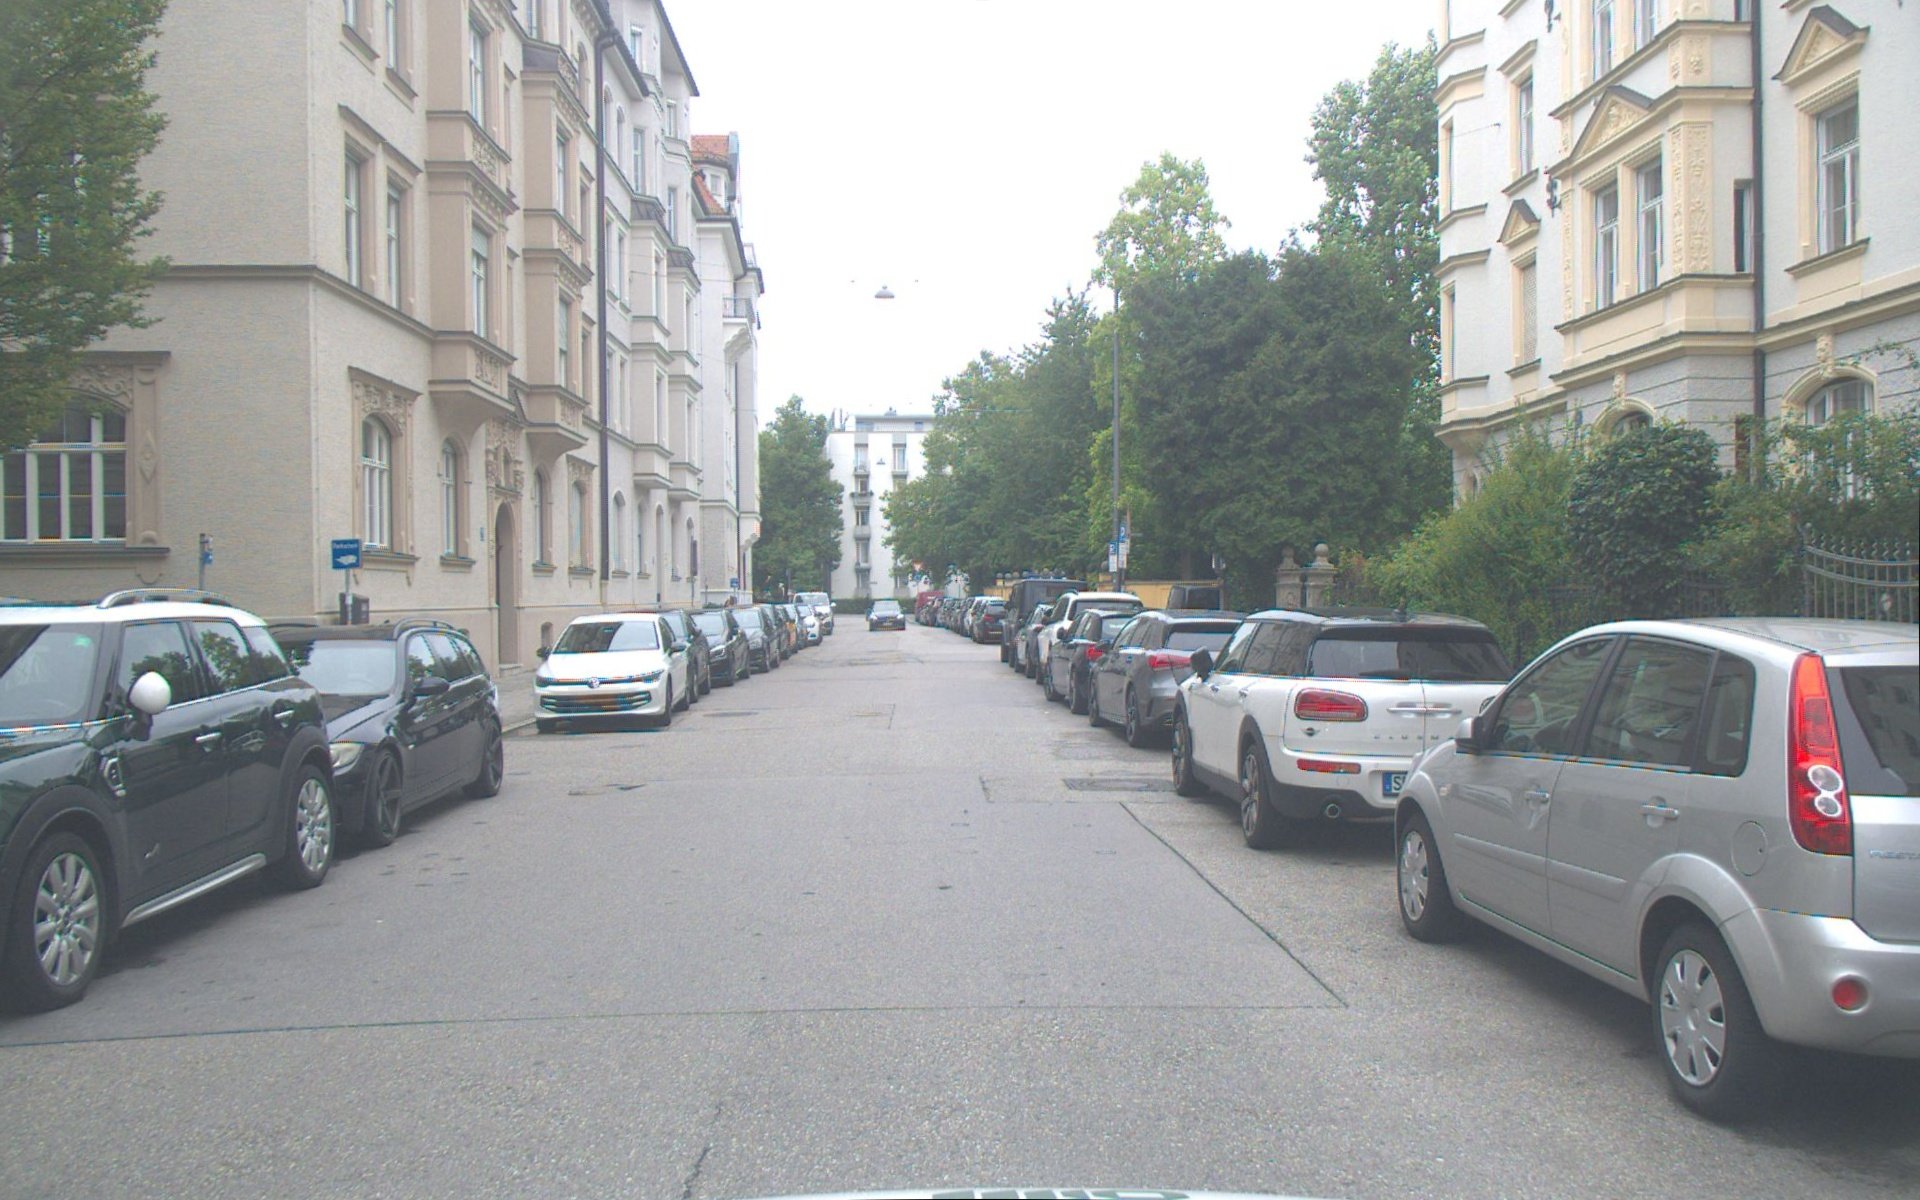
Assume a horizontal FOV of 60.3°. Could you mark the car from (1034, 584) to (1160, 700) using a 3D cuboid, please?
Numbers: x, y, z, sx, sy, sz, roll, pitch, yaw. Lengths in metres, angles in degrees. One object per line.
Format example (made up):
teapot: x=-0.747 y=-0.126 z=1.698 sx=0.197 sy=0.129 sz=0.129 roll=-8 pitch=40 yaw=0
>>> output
car: x=2.293 y=0.694 z=28.724 sx=1.688 sy=1.800 sz=4.412 roll=2 pitch=-1 yaw=-1

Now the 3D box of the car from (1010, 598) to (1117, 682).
car: x=2.045 y=0.786 z=33.540 sx=1.689 sy=1.545 sz=3.628 roll=2 pitch=-1 yaw=-3

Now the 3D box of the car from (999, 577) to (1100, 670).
car: x=2.010 y=0.484 z=38.517 sx=1.911 sy=1.988 sz=4.664 roll=1 pitch=1 yaw=-2

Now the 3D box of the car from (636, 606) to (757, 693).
car: x=-5.091 y=0.908 z=32.485 sx=1.797 sy=1.459 sz=4.551 roll=-2 pitch=1 yaw=-3

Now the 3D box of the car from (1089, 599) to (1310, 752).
car: x=2.576 y=0.765 z=18.669 sx=1.650 sy=1.531 sz=4.015 roll=1 pitch=0 yaw=-4

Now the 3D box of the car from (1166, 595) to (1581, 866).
car: x=2.611 y=0.743 z=11.438 sx=1.748 sy=1.531 sz=4.063 roll=1 pitch=0 yaw=-2

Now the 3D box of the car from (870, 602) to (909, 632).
car: x=-3.528 y=0.842 z=82.513 sx=1.837 sy=1.453 sz=4.405 roll=0 pitch=0 yaw=-4

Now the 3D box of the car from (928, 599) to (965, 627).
car: x=-0.808 y=0.728 z=95.063 sx=1.803 sy=1.545 sz=3.943 roll=1 pitch=-1 yaw=-5

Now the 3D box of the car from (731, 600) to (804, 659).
car: x=-5.551 y=0.820 z=48.151 sx=1.607 sy=1.525 sz=3.971 roll=-3 pitch=0 yaw=-1

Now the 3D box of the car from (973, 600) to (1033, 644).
car: x=1.432 y=0.744 z=56.489 sx=1.801 sy=1.438 sz=4.341 roll=1 pitch=-1 yaw=-2

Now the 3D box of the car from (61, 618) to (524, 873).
car: x=-4.589 y=0.894 z=12.137 sx=1.751 sy=1.437 sz=4.365 roll=0 pitch=0 yaw=-2

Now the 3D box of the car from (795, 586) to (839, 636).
car: x=-6.642 y=0.483 z=77.103 sx=1.849 sy=2.164 sz=4.703 roll=-3 pitch=0 yaw=-4

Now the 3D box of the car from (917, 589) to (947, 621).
car: x=-1.804 y=0.287 z=106.913 sx=1.799 sy=1.960 sz=4.005 roll=2 pitch=0 yaw=0

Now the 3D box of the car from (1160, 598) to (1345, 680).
car: x=7.689 y=0.992 z=43.665 sx=4.444 sy=1.984 sz=1.900 roll=-1 pitch=2 yaw=-8

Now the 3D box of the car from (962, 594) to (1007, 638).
car: x=0.947 y=0.650 z=66.412 sx=1.484 sy=1.690 sz=3.671 roll=1 pitch=-1 yaw=-4

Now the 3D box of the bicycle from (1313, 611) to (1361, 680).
bicycle: x=6.333 y=0.753 z=27.840 sx=0.445 sy=1.118 sz=1.313 roll=0 pitch=0 yaw=-3

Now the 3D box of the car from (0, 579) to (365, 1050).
car: x=-4.321 y=0.739 z=7.543 sx=1.799 sy=1.647 sz=4.243 roll=0 pitch=0 yaw=-2

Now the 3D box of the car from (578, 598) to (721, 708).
car: x=-5.076 y=0.810 z=27.589 sx=1.735 sy=1.544 sz=4.382 roll=-3 pitch=1 yaw=-4

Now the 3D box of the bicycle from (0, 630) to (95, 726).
bicycle: x=-11.779 y=0.955 z=20.833 sx=0.679 sy=0.977 sz=2.009 roll=2 pitch=3 yaw=1

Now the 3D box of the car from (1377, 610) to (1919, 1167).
car: x=2.869 y=0.772 z=6.074 sx=1.719 sy=1.431 sz=3.450 roll=1 pitch=0 yaw=-2

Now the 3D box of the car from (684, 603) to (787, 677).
car: x=-5.066 y=0.871 z=37.840 sx=1.799 sy=1.460 sz=4.244 roll=-3 pitch=0 yaw=-1

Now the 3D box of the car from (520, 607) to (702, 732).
car: x=-4.721 y=0.884 z=22.953 sx=1.800 sy=1.459 sz=4.242 roll=-2 pitch=1 yaw=-3

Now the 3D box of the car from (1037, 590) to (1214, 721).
car: x=2.266 y=0.714 z=23.754 sx=1.716 sy=1.639 sz=4.419 roll=1 pitch=1 yaw=-5

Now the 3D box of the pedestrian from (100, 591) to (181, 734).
pedestrian: x=-9.661 y=0.723 z=19.511 sx=0.660 sy=1.654 sz=0.630 roll=0 pitch=0 yaw=-5

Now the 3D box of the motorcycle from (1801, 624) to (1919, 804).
motorcycle: x=6.447 y=0.740 z=11.147 sx=0.594 sy=1.132 sz=1.965 roll=0 pitch=0 yaw=2

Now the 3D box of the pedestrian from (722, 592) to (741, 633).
pedestrian: x=-9.637 y=0.542 z=69.664 sx=0.777 sy=1.708 sz=0.699 roll=-1 pitch=0 yaw=-9

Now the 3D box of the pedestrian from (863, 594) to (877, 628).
pedestrian: x=-6.309 y=0.769 z=115.960 sx=0.829 sy=2.325 sz=0.838 roll=0 pitch=0 yaw=-18

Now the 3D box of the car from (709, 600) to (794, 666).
car: x=-5.393 y=0.818 z=43.111 sx=1.718 sy=1.526 sz=4.018 roll=-2 pitch=0 yaw=-1

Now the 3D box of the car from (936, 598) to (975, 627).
car: x=-0.289 y=0.671 z=90.901 sx=1.803 sy=1.545 sz=3.943 roll=1 pitch=-1 yaw=-5

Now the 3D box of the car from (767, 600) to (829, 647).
car: x=-5.707 y=0.813 z=58.616 sx=1.799 sy=1.463 sz=4.274 roll=-3 pitch=0 yaw=-1
